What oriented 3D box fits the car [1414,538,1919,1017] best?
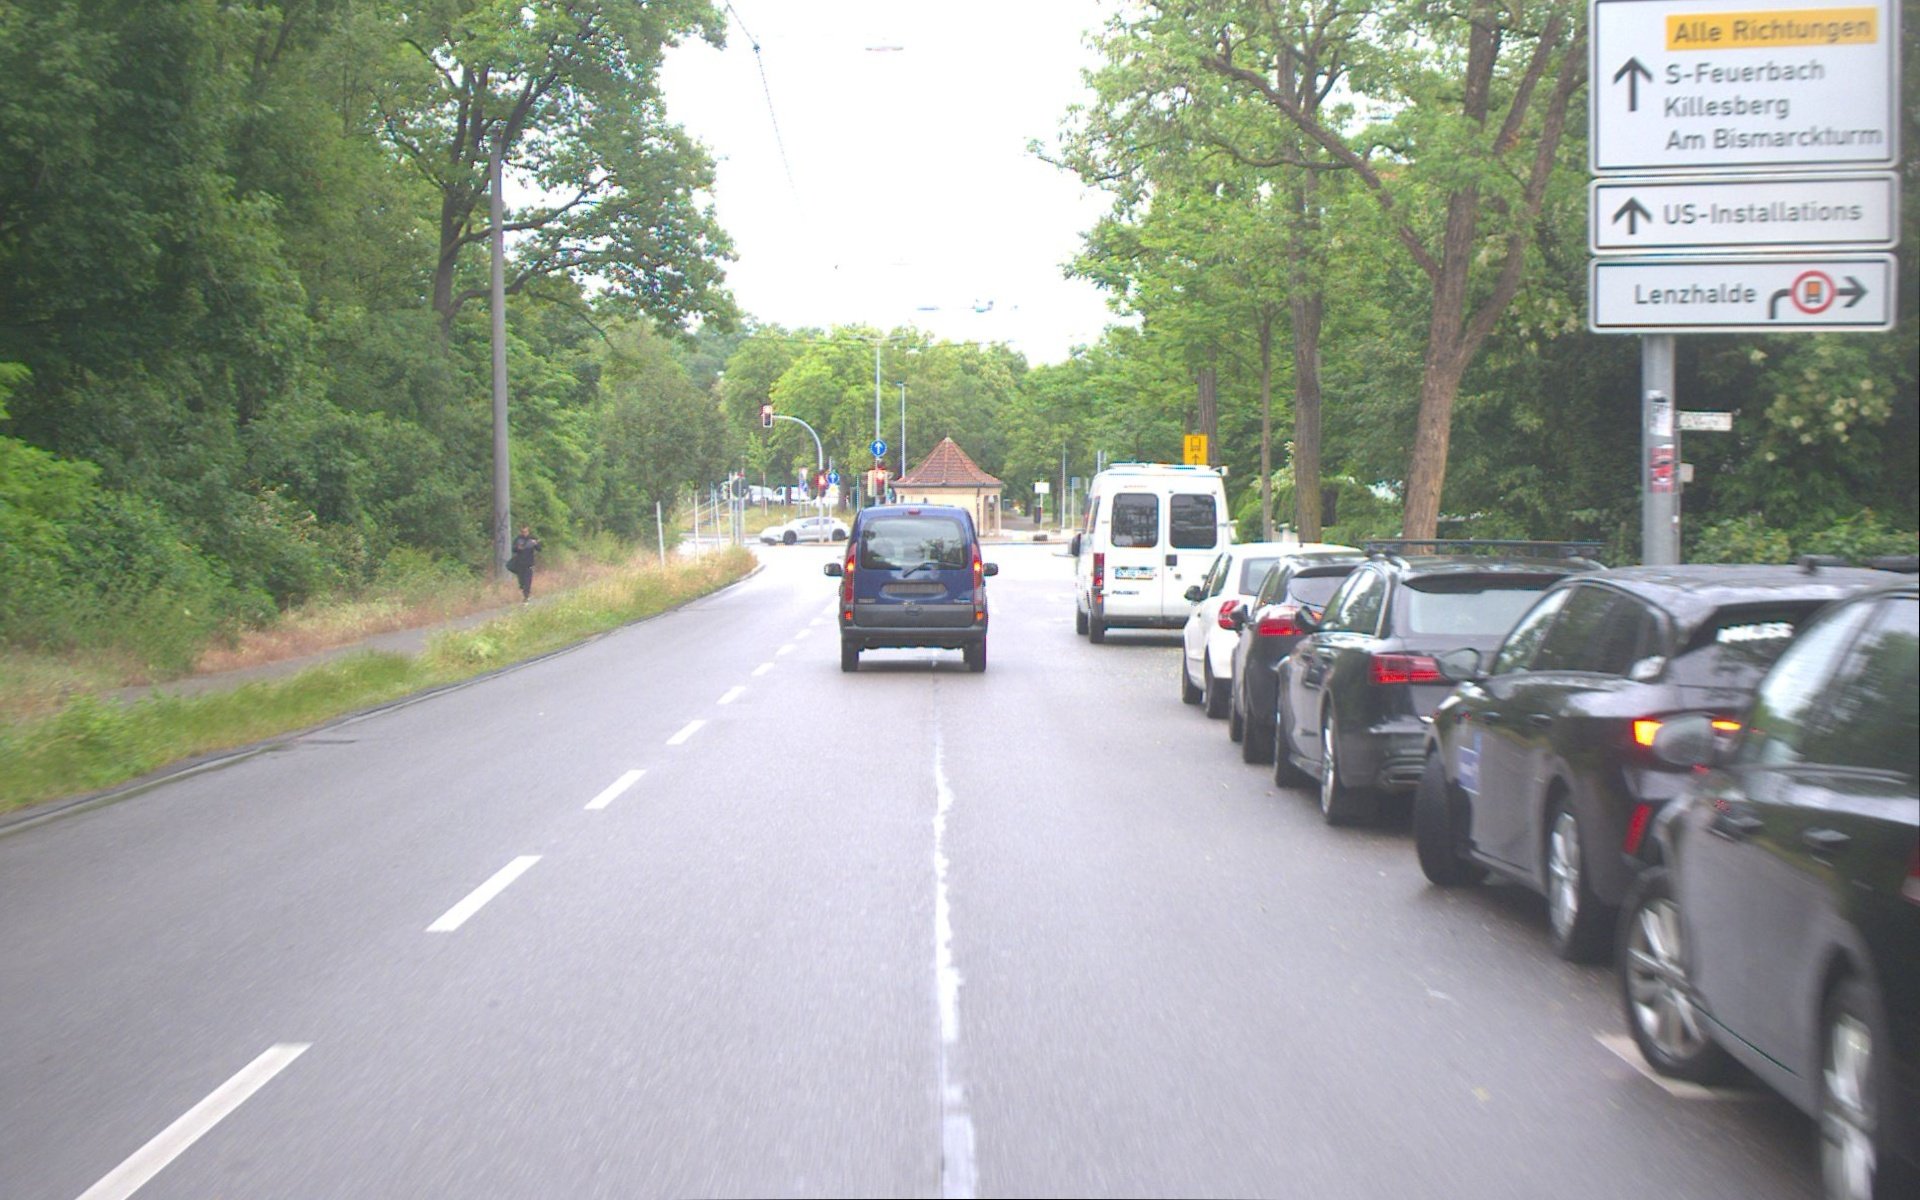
[{"bbox_3d":[2.913,0.562,13.310,1.698,1.519,3.868,1,2,-1],"label":"car"}]

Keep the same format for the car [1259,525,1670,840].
[{"bbox_3d":[2.730,0.372,19.469,1.698,1.519,4.211,1,2,0],"label":"car"}]

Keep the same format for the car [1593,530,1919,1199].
[{"bbox_3d":[2.654,0.646,8.138,1.698,1.519,3.867,1,2,2],"label":"car"}]

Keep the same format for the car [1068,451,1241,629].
[{"bbox_3d":[2.747,-0.876,49.507,2.205,2.441,4.730,0,1,0],"label":"car"}]

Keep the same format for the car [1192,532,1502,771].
[{"bbox_3d":[2.710,0.308,24.857,1.698,1.519,3.868,1,2,-1],"label":"car"}]

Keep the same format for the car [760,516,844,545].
[{"bbox_3d":[-8.092,-3.569,176.310,4.038,1.371,1.718,2,2,9],"label":"car"}]

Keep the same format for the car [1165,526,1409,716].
[{"bbox_3d":[2.848,0.133,30.673,1.698,1.519,3.868,1,2,-1],"label":"car"}]

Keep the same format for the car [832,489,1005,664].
[{"bbox_3d":[-0.515,-0.311,38.754,1.766,1.824,3.543,1,2,-3],"label":"car"}]
